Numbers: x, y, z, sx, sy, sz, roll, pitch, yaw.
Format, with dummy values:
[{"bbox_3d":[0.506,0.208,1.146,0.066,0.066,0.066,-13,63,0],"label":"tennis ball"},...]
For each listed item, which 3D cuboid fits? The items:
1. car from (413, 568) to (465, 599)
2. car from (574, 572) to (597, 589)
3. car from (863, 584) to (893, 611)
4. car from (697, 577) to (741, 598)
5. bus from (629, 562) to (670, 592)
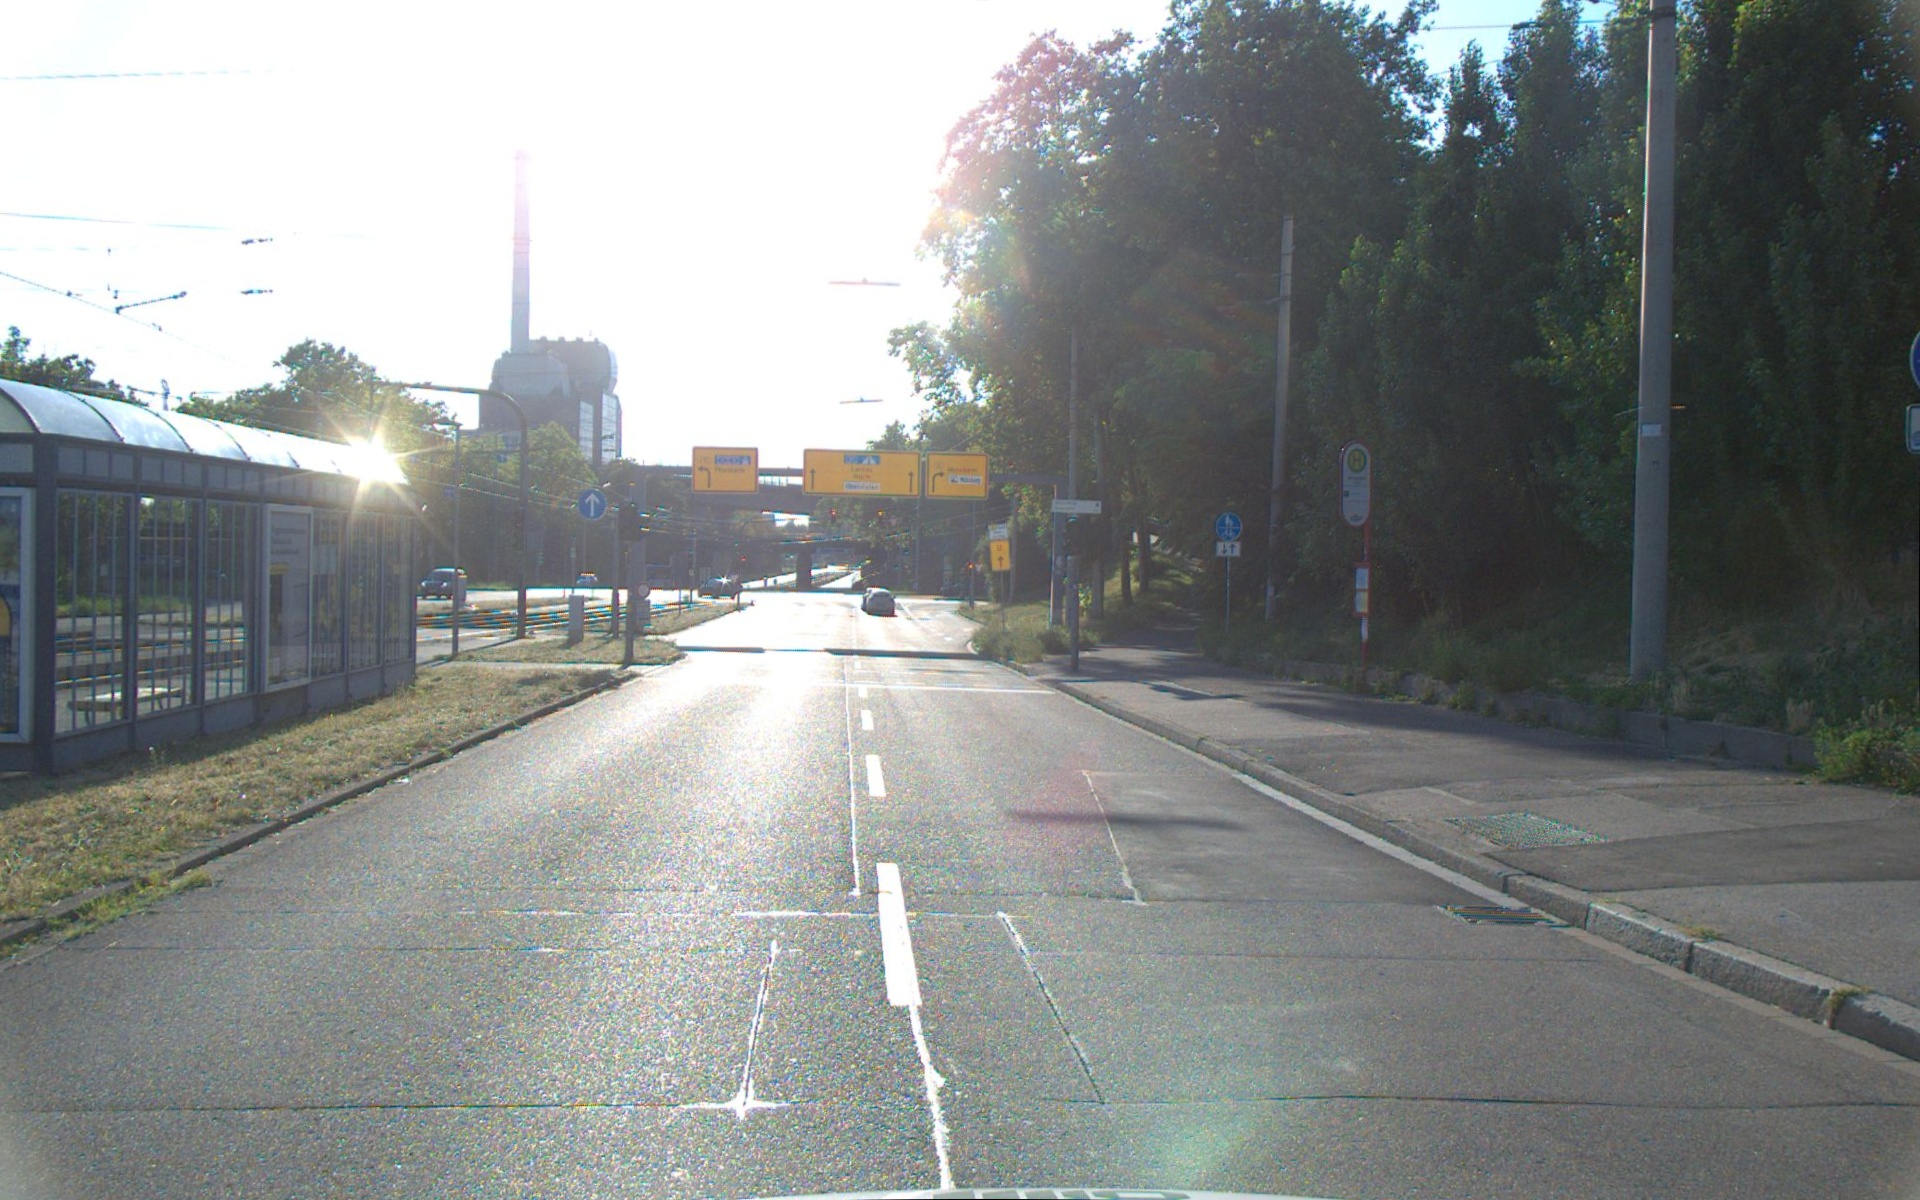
[{"bbox_3d":[-32.068,-1.028,101.879,1.894,1.818,4.259,1,1,-1],"label":"car"},{"bbox_3d":[-36.681,-1.926,162.107,1.575,1.538,4.004,2,1,-5],"label":"car"},{"bbox_3d":[-5.008,-0.178,100.326,1.702,1.531,3.997,1,1,-5],"label":"car"},{"bbox_3d":[-18.435,-0.976,126.352,1.722,1.531,3.952,0,2,-35],"label":"car"},{"bbox_3d":[-36.441,-2.668,194.696,2.492,3.184,12.915,1,0,-1],"label":"bus"}]
